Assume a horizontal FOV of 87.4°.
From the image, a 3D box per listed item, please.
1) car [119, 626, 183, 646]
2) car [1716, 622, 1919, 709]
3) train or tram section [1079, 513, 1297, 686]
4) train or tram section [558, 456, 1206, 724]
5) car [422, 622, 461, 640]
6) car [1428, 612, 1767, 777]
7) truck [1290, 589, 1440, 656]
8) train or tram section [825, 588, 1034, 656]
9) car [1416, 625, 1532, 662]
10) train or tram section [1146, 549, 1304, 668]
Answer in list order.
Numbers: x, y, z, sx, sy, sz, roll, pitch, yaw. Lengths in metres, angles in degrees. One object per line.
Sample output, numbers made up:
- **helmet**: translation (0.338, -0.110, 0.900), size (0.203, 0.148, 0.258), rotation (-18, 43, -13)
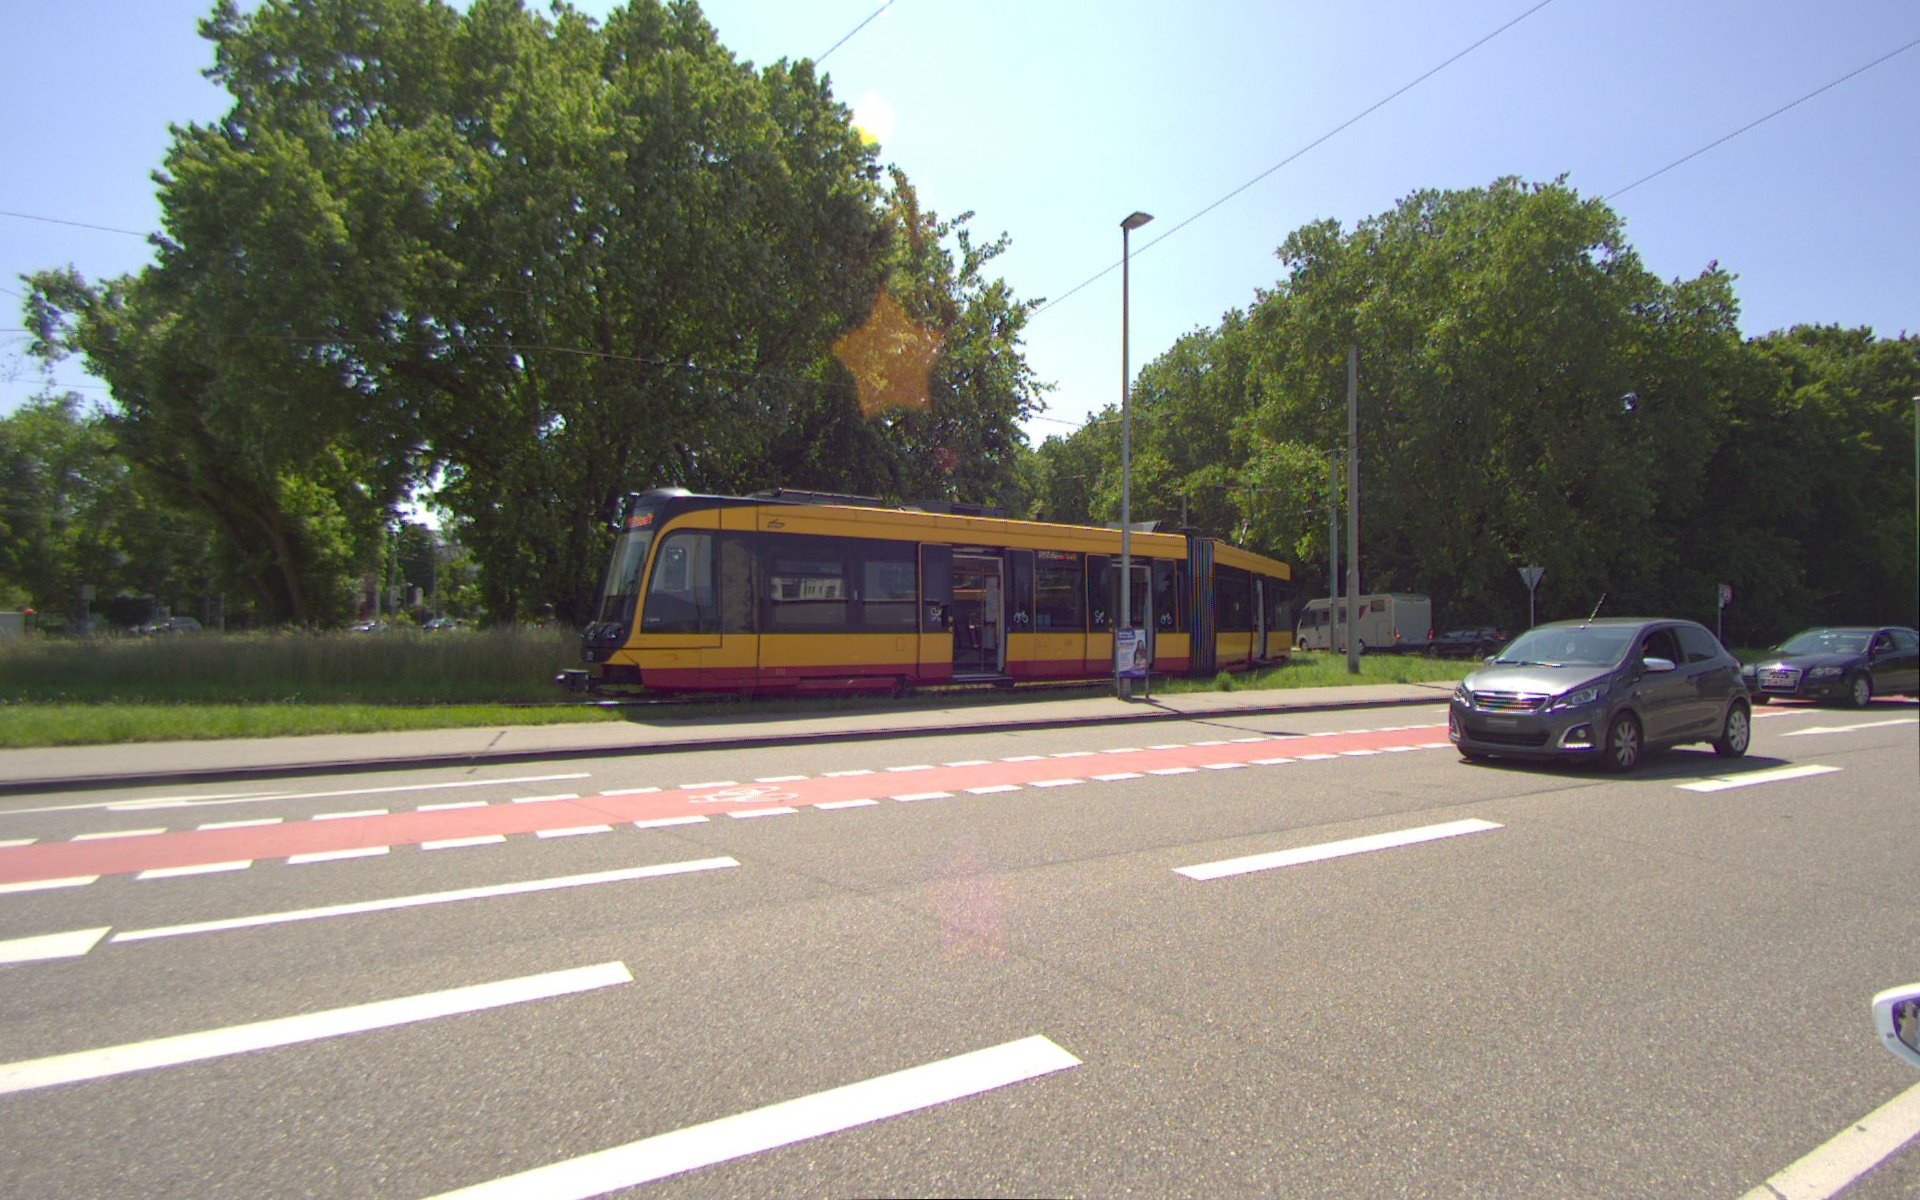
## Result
- **car**: translation (-57.324, 2.533, 71.253), size (1.574, 1.303, 3.645), rotation (-2, -1, -1)
- **car**: translation (16.521, 1.152, 18.873), size (4.377, 1.424, 1.740), rotation (0, -1, -23)
- **train or tram section**: translation (6.800, 0.175, 27.854), size (2.971, 3.808, 11.602), rotation (-2, -2, 28)
- **train or tram section**: translation (-0.661, -0.022, 19.363), size (12.871, 3.808, 2.995), rotation (1, -2, -37)
- **car**: translation (-56.020, 3.353, 108.658), size (1.960, 1.754, 4.001), rotation (-2, -1, 2)
- **car**: translation (6.760, 0.909, 10.607), size (3.460, 1.475, 1.615), rotation (1, -3, -30)
- **truck**: translation (19.234, 1.137, 48.307), size (2.528, 2.948, 7.310), rotation (1, -2, -19)
- **train or tram section**: translation (-2.184, 1.487, 61.428), size (13.970, 3.808, 3.014), rotation (-2, -2, 37)
- **car**: translation (21.163, 1.760, 41.526), size (1.642, 1.436, 4.292), rotation (2, -2, -21)
- **train or tram section**: translation (9.856, 0.515, 39.463), size (2.965, 3.808, 14.055), rotation (-1, -2, 2)
